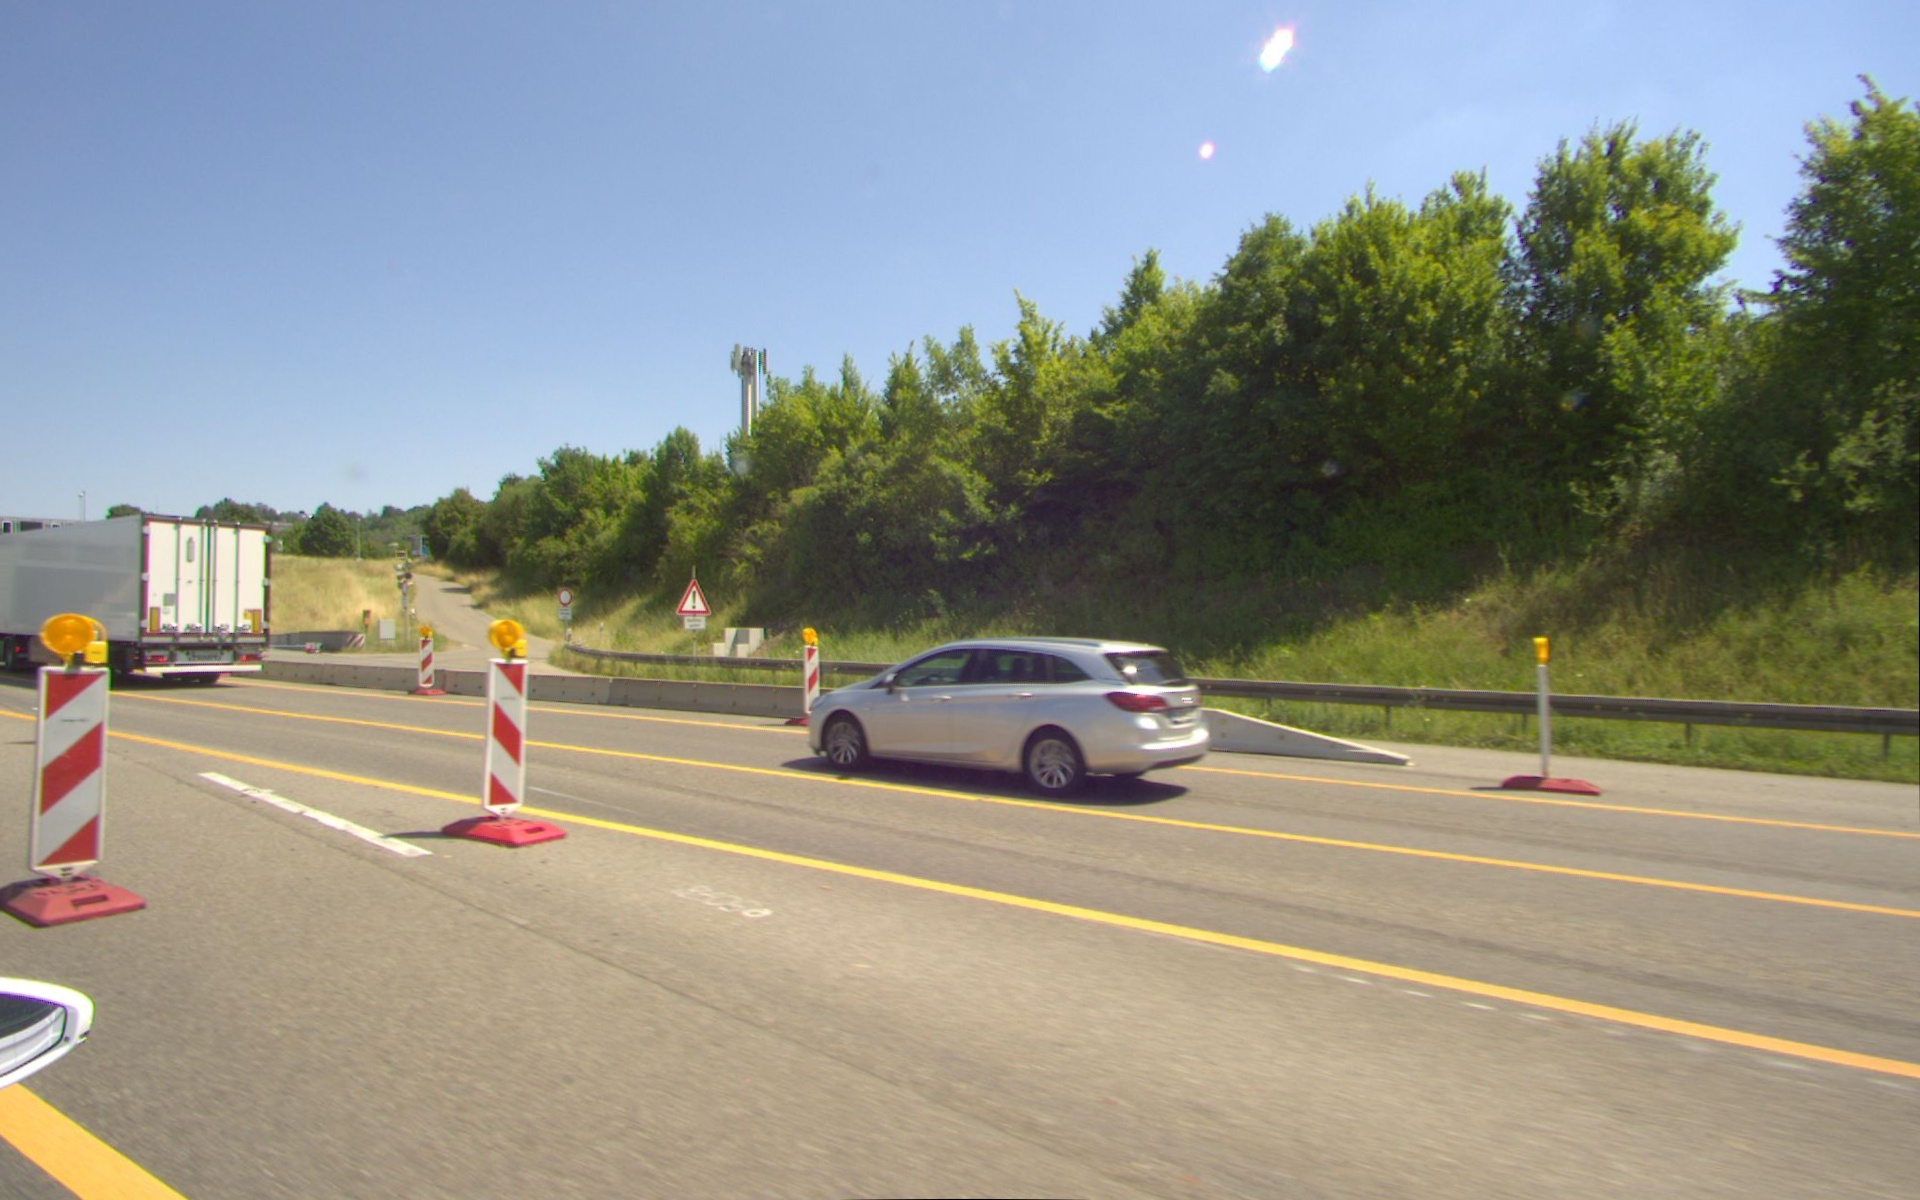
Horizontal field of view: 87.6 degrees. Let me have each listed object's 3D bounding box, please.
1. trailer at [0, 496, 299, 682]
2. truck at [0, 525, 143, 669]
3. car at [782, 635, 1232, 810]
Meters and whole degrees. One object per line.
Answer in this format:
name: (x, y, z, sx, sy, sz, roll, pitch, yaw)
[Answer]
trailer: (-22.608, -0.120, 27.255, 13.904, 4.114, 2.726, -1, -2, 35)
truck: (-28.187, -0.014, 31.170, 5.846, 4.085, 2.738, -1, -2, 35)
car: (0.374, 1.134, 10.731, 4.590, 1.483, 1.810, -1, -2, 35)
